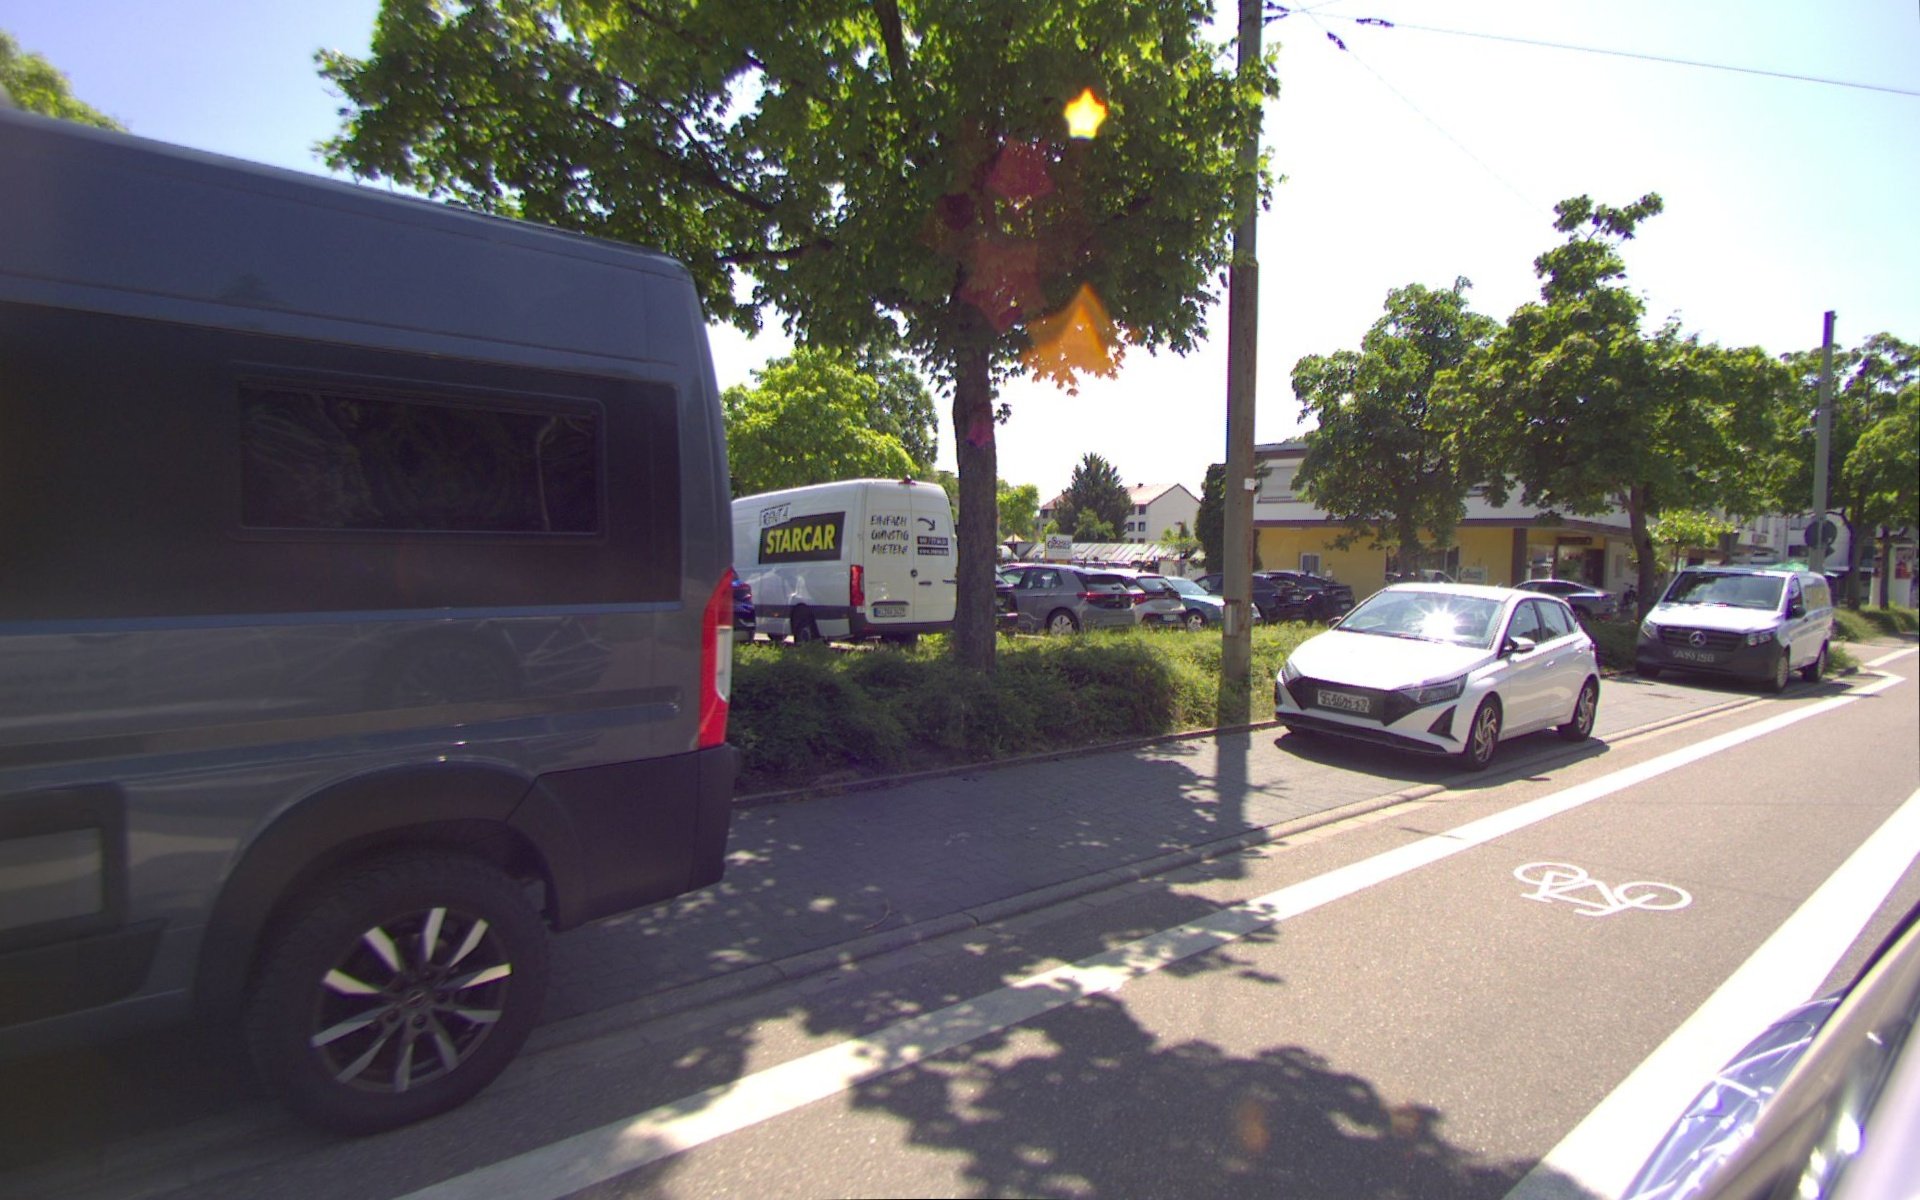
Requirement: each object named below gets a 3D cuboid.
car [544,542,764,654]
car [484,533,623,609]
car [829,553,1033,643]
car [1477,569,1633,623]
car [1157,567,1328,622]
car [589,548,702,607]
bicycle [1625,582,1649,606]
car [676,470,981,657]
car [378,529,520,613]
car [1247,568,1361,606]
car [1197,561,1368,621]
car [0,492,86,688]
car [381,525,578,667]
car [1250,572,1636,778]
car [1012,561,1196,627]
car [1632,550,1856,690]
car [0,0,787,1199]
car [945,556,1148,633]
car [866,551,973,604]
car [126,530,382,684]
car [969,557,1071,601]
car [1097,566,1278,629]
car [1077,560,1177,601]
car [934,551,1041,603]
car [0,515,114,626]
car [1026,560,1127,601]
[{"bbox_3d":[-4.776,-0.046,15.497,1.699,1.490,3.890,-1,1,-43],"label":"car"},{"bbox_3d":[-11.260,-0.863,27.802,2.057,1.773,5.167,0,4,-40],"label":"car"},{"bbox_3d":[-0.634,-0.055,18.942,1.699,1.490,3.890,-1,1,-43],"label":"car"},{"bbox_3d":[20.037,-0.190,34.197,1.912,1.630,4.143,-1,3,-44],"label":"car"},{"bbox_3d":[7.062,-0.152,25.581,1.698,1.297,3.892,-1,1,-41],"label":"car"},{"bbox_3d":[-9.228,-0.707,29.490,1.603,1.453,4.322,0,4,-40],"label":"car"},{"bbox_3d":[30.951,-0.292,46.267,0.542,1.081,1.871,3,3,44],"label":"bicycle"},{"bbox_3d":[-2.500,-0.538,17.085,2.222,2.561,6.357,0,1,-38],"label":"car"},{"bbox_3d":[-12.843,-0.793,25.230,2.057,1.773,5.167,0,4,-40],"label":"car"},{"bbox_3d":[14.024,-0.557,41.442,1.717,1.391,4.148,0,3,-40],"label":"car"},{"bbox_3d":[8.702,-0.246,27.540,1.650,1.509,4.205,-1,1,-41],"label":"car"},{"bbox_3d":[-10.428,-0.098,10.409,1.923,1.806,3.781,-1,1,-45],"label":"car"},{"bbox_3d":[-6.801,-0.069,14.181,1.698,1.739,3.378,-1,1,-40],"label":"car"},{"bbox_3d":[4.694,0.524,9.572,4.136,1.445,1.726,-1,5,-41],"label":"car"},{"bbox_3d":[3.104,-0.145,22.396,1.698,1.342,3.892,-1,1,-41],"label":"car"},{"bbox_3d":[13.267,0.248,16.994,5.034,1.939,1.884,0,5,-41],"label":"car"},{"bbox_3d":[-3.493,-0.032,2.045,5.974,2.667,2.002,0,5,-42],"label":"car"},{"bbox_3d":[1.669,-0.129,20.333,3.886,1.397,1.701,0,1,44],"label":"car"},{"bbox_3d":[-1.463,-0.814,35.338,1.603,1.624,3.990,0,4,-40],"label":"car"},{"bbox_3d":[-8.703,0.045,12.313,1.922,1.524,4.409,-1,1,-44],"label":"car"},{"bbox_3d":[2.281,-0.857,39.281,1.603,1.461,3.990,0,4,-40],"label":"car"},{"bbox_3d":[5.218,-0.078,23.573,1.698,1.342,3.892,-1,1,-41],"label":"car"},{"bbox_3d":[6.888,-0.848,42.075,1.603,1.453,3.990,0,4,-40],"label":"car"},{"bbox_3d":[0.945,-0.869,36.829,1.638,1.620,3.990,0,4,-40],"label":"car"},{"bbox_3d":[-18.110,-0.671,20.032,2.057,1.898,5.110,0,4,-40],"label":"car"},{"bbox_3d":[4.592,-0.797,40.436,1.603,1.385,3.990,0,4,-40],"label":"car"}]
